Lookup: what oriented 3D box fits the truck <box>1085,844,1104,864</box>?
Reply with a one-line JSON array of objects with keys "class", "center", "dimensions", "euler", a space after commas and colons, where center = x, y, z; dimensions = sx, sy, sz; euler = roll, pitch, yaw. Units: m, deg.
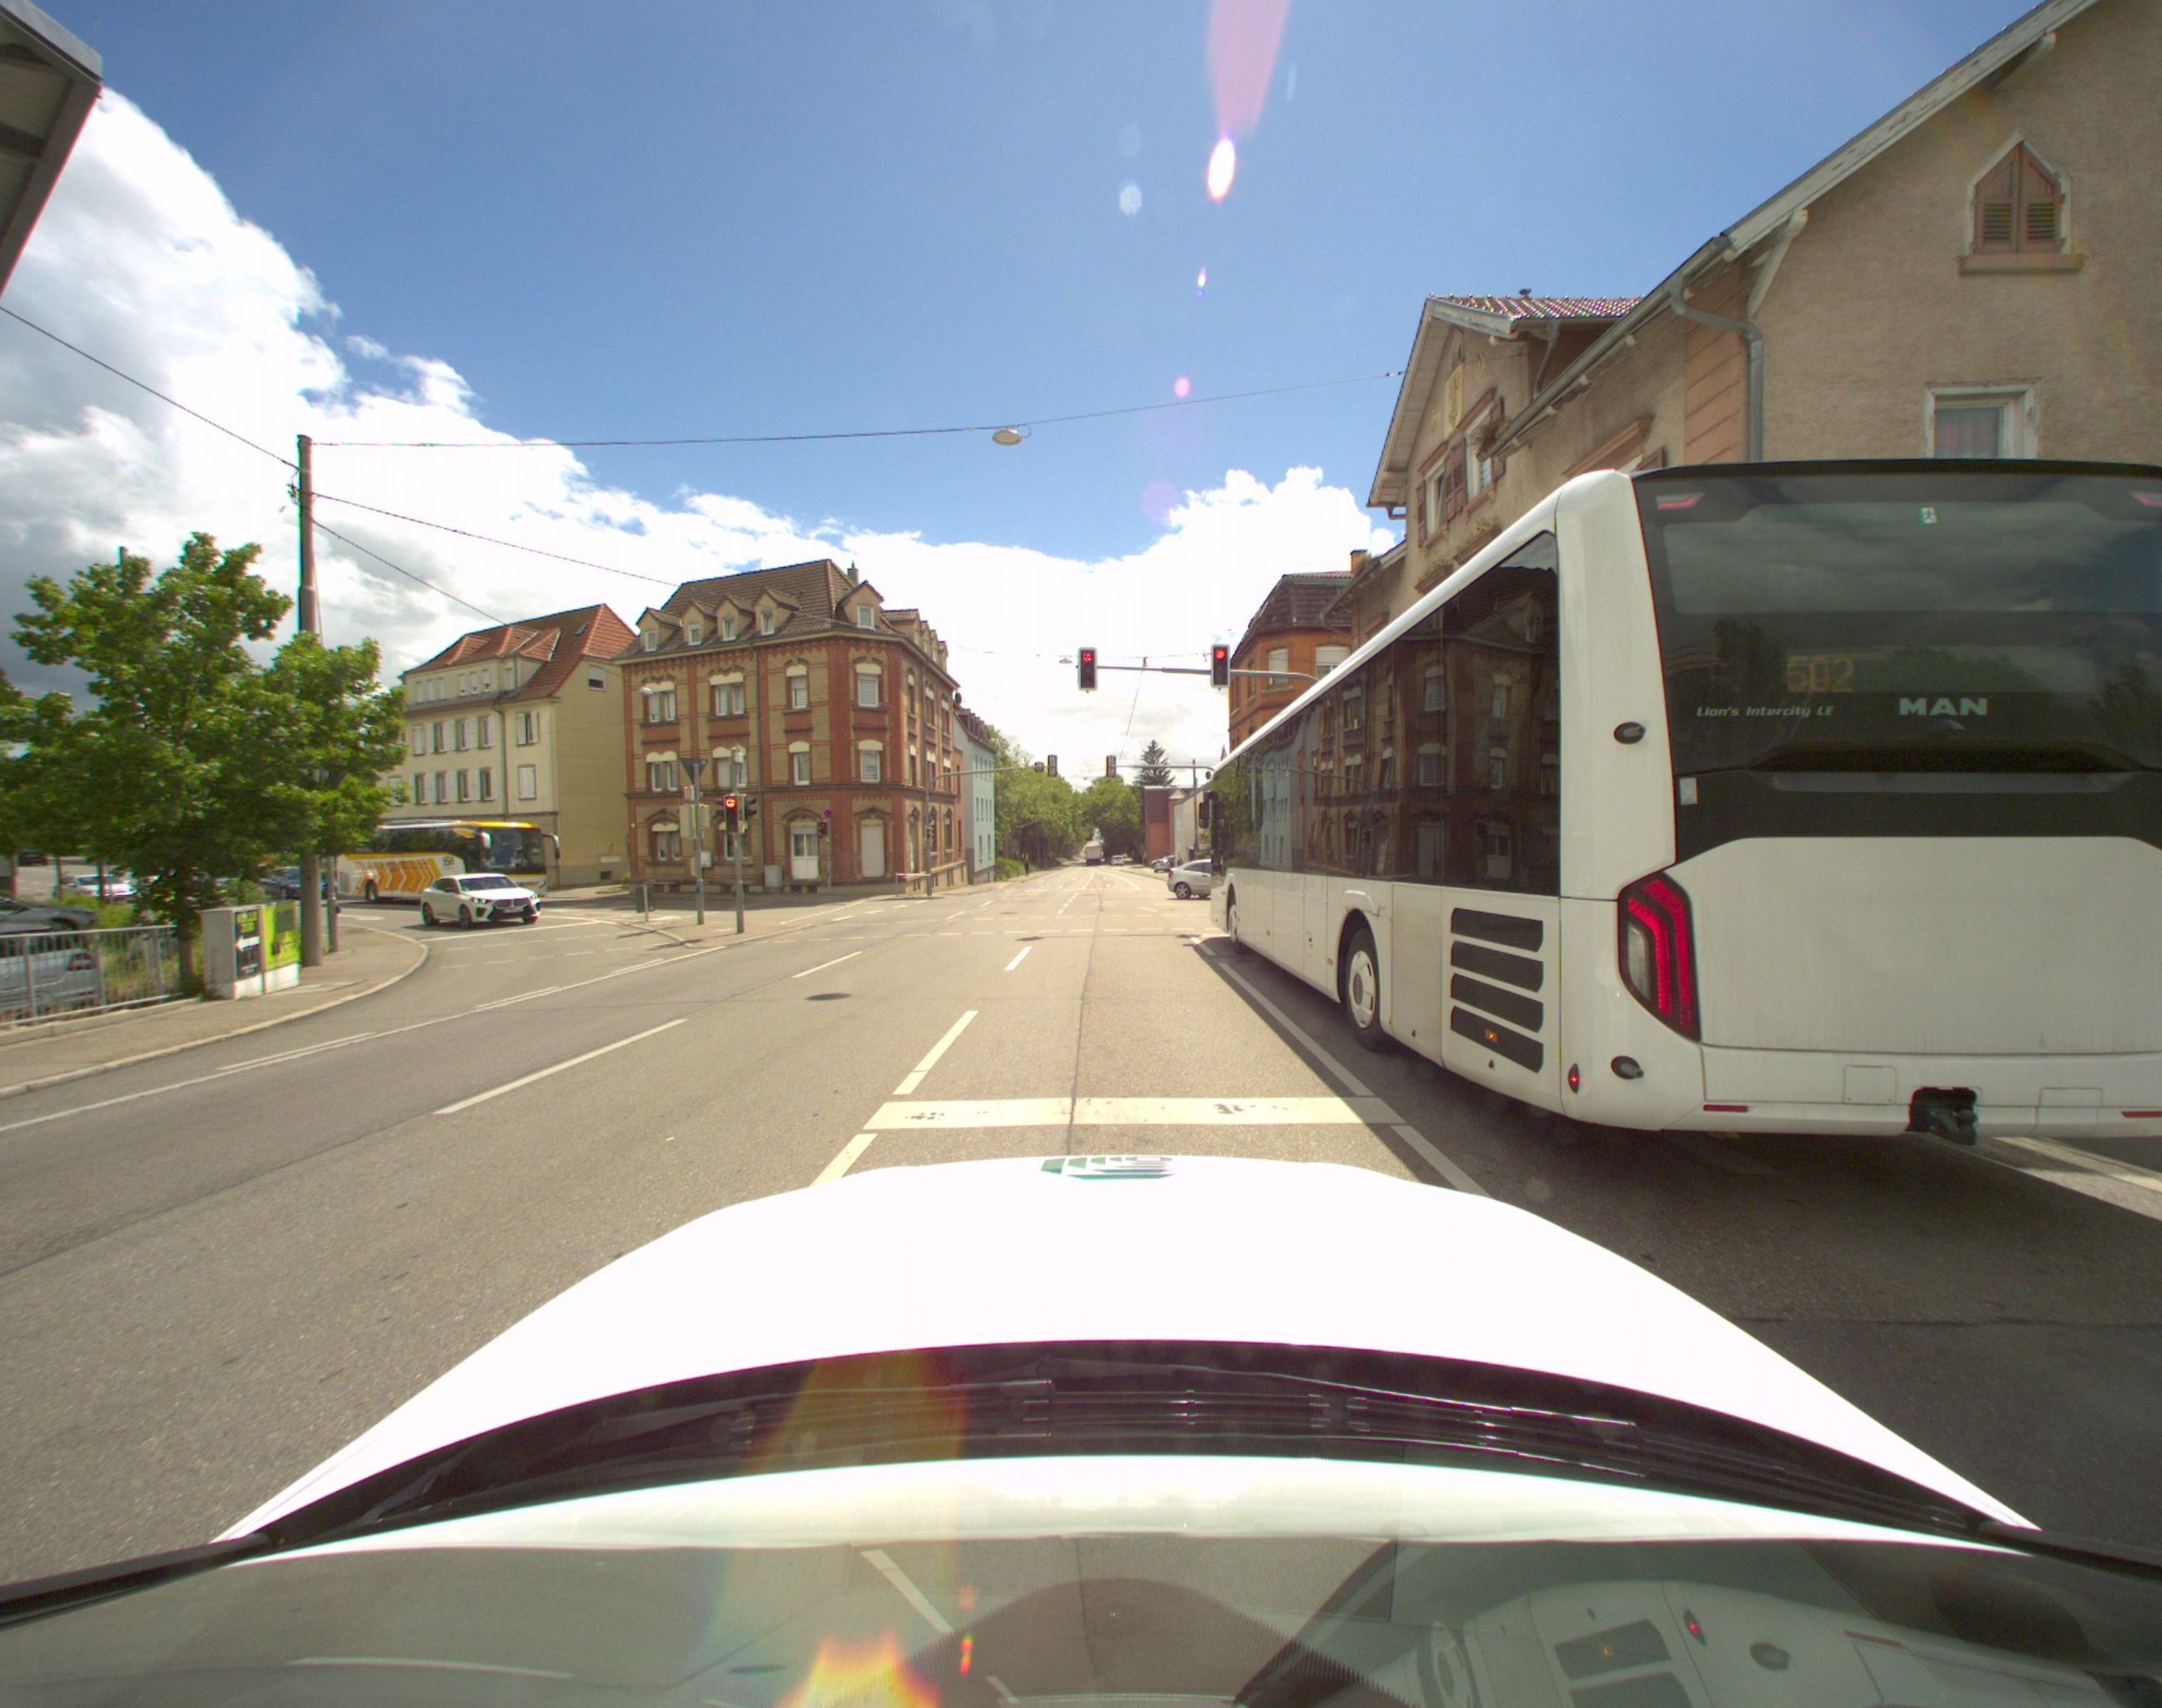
[{"class": "truck", "center": [2.296, -0.002, 139.040], "dimensions": [2.917, 3.081, 7.883], "euler": [-2, 0, 0]}]

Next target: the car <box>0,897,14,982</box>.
[{"class": "car", "center": [-23.370, 1.758, 16.462], "dimensions": [3.455, 1.680, 1.663], "euler": [-1, 2, 30]}]

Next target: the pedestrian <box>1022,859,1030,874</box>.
[{"class": "pedestrian", "center": [-5.721, 1.314, 84.902], "dimensions": [0.727, 1.565, 0.561], "euler": [-1, 0, 0]}]

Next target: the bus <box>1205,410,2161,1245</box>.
[{"class": "bus", "center": [3.498, -0.113, 9.320], "dimensions": [2.662, 3.155, 12.467], "euler": [0, 0, 2]}]

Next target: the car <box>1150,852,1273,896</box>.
[{"class": "car", "center": [4.598, 0.728, 28.968], "dimensions": [3.948, 1.427, 1.715], "euler": [-2, 0, 39]}]

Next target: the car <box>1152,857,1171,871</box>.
[{"class": "car", "center": [9.221, 1.103, 93.036], "dimensions": [1.788, 1.409, 4.000], "euler": [-2, 0, 1]}]

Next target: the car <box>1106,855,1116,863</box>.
[{"class": "car", "center": [5.735, 1.002, 154.032], "dimensions": [1.787, 1.409, 4.421], "euler": [-1, 0, 3]}]

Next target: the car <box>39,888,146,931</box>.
[{"class": "car", "center": [-37.540, 2.085, 30.929], "dimensions": [3.456, 1.448, 1.811], "euler": [-2, 0, 26]}]

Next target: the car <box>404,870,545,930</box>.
[{"class": "car", "center": [-18.650, 1.419, 25.028], "dimensions": [4.251, 1.551, 1.846], "euler": [-3, 2, 30]}]

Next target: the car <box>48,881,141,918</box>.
[{"class": "car", "center": [-47.232, 2.173, 38.988], "dimensions": [3.951, 1.596, 1.869], "euler": [-2, 0, 25]}]

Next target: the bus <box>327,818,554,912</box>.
[{"class": "bus", "center": [-28.169, 0.381, 35.560], "dimensions": [12.111, 3.621, 2.788], "euler": [0, 0, 26]}]

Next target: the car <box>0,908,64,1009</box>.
[{"class": "car", "center": [-19.427, 1.822, 14.126], "dimensions": [3.455, 1.526, 1.626], "euler": [-1, 2, 29]}]

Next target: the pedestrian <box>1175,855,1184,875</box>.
[{"class": "pedestrian", "center": [8.798, 1.022, 72.805], "dimensions": [0.736, 1.750, 0.619], "euler": [-2, 0, 1]}]

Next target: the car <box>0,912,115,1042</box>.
[{"class": "car", "center": [-15.994, 1.778, 12.052], "dimensions": [3.321, 1.560, 1.693], "euler": [0, 2, 32]}]

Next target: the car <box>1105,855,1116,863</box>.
[{"class": "car", "center": [5.278, 0.872, 145.932], "dimensions": [1.787, 1.409, 4.421], "euler": [-1, 0, 3]}]

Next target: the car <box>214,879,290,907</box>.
[{"class": "car", "center": [-45.655, 2.114, 44.833], "dimensions": [3.949, 1.409, 1.923], "euler": [-2, 0, 29]}]

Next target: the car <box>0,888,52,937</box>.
[{"class": "car", "center": [-36.172, 1.942, 25.856], "dimensions": [1.785, 1.553, 4.023], "euler": [-2, 0, 25]}]

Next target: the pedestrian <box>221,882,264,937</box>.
[{"class": "pedestrian", "center": [-27.365, 1.801, 26.583], "dimensions": [1.129, 1.734, 0.764], "euler": [-2, -1, 34]}]

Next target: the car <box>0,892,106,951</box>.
[{"class": "car", "center": [-29.481, 1.859, 22.178], "dimensions": [1.777, 1.477, 3.522], "euler": [-2, 0, 32]}]

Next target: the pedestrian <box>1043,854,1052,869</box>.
[{"class": "pedestrian", "center": [-4.647, 1.071, 112.978], "dimensions": [0.991, 2.013, 1.189], "euler": [-2, 0, 1]}]

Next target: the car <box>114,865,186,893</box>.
[{"class": "car", "center": [-53.652, 1.440, 46.922], "dimensions": [3.949, 1.554, 1.923], "euler": [-2, 0, 29]}]

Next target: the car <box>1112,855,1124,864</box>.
[{"class": "car", "center": [5.832, 0.848, 129.700], "dimensions": [1.787, 1.409, 4.002], "euler": [-1, 0, 2]}]

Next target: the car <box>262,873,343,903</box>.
[{"class": "car", "center": [-39.111, 1.717, 40.902], "dimensions": [3.949, 1.409, 1.762], "euler": [-2, 0, 28]}]

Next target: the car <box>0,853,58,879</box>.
[{"class": "car", "center": [-76.305, 0.885, 58.870], "dimensions": [3.952, 1.750, 1.835], "euler": [-2, 0, 22]}]
